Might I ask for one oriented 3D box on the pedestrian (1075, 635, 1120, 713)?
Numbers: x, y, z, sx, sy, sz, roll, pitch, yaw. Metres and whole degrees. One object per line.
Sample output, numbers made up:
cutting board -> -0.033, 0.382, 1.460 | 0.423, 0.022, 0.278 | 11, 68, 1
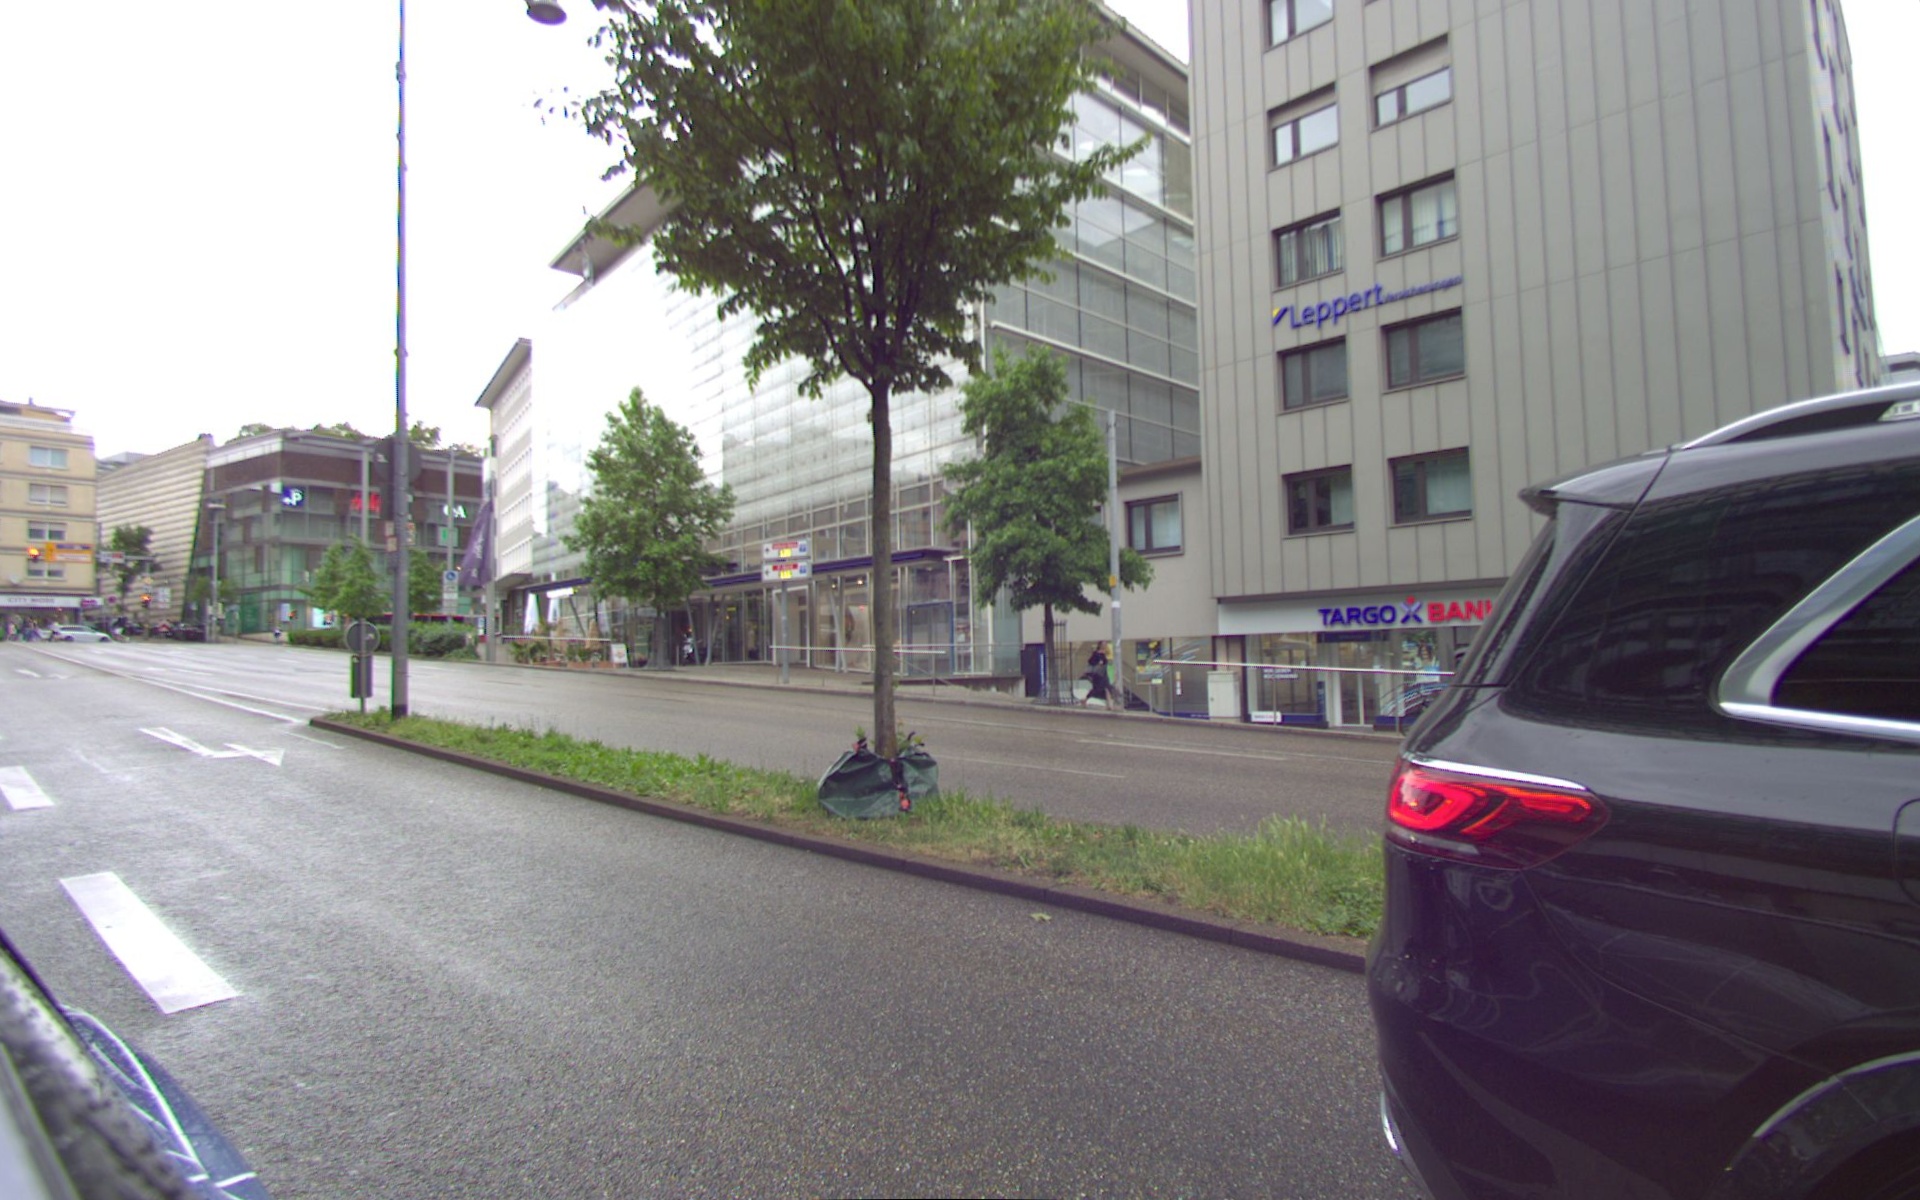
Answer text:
pedestrian -> 3.042, 1.621, 22.407 | 0.626, 1.649, 0.791 | 0, 0, -41

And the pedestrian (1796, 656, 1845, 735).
pedestrian -> 19.410, 2.139, 22.846 | 0.724, 1.710, 0.781 | 0, -3, 34

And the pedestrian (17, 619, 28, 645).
pedestrian -> -60.608, 2.056, 65.408 | 0.602, 1.642, 0.422 | -1, -3, 44

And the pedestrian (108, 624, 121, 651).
pedestrian -> -57.257, 2.503, 68.526 | 0.618, 1.788, 0.689 | 0, 0, -45

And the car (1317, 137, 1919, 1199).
car -> 3.129, 0.383, 0.775 | 5.069, 1.884, 1.892 | 0, 0, 40

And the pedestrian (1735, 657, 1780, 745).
pedestrian -> 15.956, 2.001, 20.261 | 0.634, 1.649, 0.781 | 0, 0, 34

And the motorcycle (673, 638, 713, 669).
motorcycle -> -12.109, 2.424, 45.957 | 0.620, 1.336, 1.685 | -1, -3, 41

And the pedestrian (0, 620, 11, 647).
pedestrian -> -60.014, 2.097, 63.649 | 0.603, 1.642, 0.422 | -1, -3, 45

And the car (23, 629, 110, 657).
car -> -66.488, 3.199, 75.371 | 1.978, 2.029, 4.572 | 1, -2, 10
